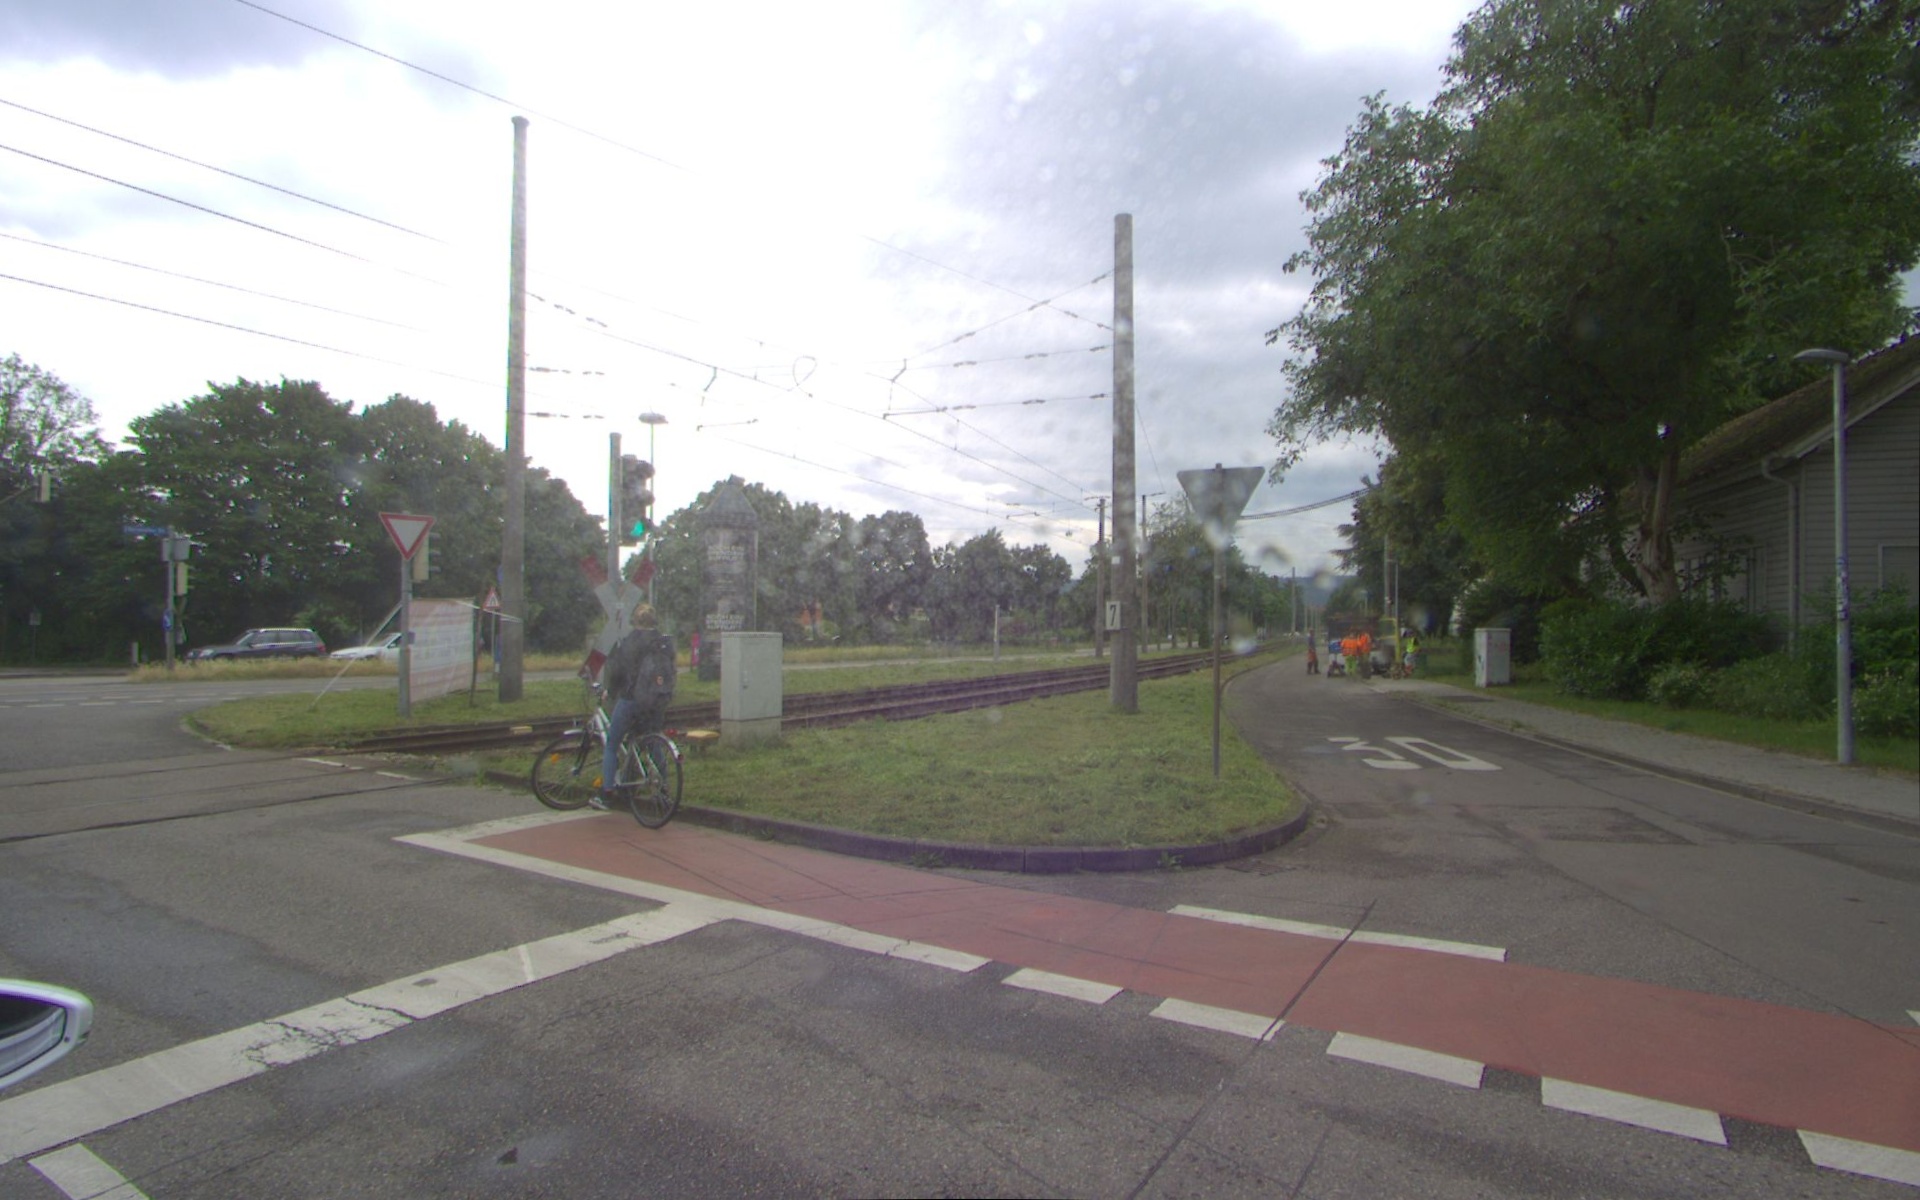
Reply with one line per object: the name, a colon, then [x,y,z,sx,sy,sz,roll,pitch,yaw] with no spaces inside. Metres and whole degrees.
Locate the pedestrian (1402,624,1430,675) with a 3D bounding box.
pedestrian: [16.656,1.803,36.574,0.598,1.864,0.712,1,-1,-13]

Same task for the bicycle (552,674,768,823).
bicycle: [-2.347,1.092,7.708,2.001,0.993,0.382,-1,-2,33]

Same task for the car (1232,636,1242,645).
car: [56.936,8.346,205.780,1.964,1.829,3.997,-1,-2,16]

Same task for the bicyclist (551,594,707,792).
bicyclist: [-2.579,0.714,7.826,0.947,1.441,0.621,-1,-5,32]

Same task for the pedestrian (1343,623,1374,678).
pedestrian: [13.788,1.740,34.653,0.862,1.878,0.676,1,-1,35]

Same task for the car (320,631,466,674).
car: [-19.617,1.796,34.822,1.624,1.374,4.129,0,-2,33]

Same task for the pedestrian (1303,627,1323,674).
pedestrian: [14.326,2.040,40.662,0.757,1.892,0.604,0,-1,17]

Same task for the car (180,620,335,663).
car: [-26.494,1.572,37.924,1.820,1.523,4.457,0,-2,33]
